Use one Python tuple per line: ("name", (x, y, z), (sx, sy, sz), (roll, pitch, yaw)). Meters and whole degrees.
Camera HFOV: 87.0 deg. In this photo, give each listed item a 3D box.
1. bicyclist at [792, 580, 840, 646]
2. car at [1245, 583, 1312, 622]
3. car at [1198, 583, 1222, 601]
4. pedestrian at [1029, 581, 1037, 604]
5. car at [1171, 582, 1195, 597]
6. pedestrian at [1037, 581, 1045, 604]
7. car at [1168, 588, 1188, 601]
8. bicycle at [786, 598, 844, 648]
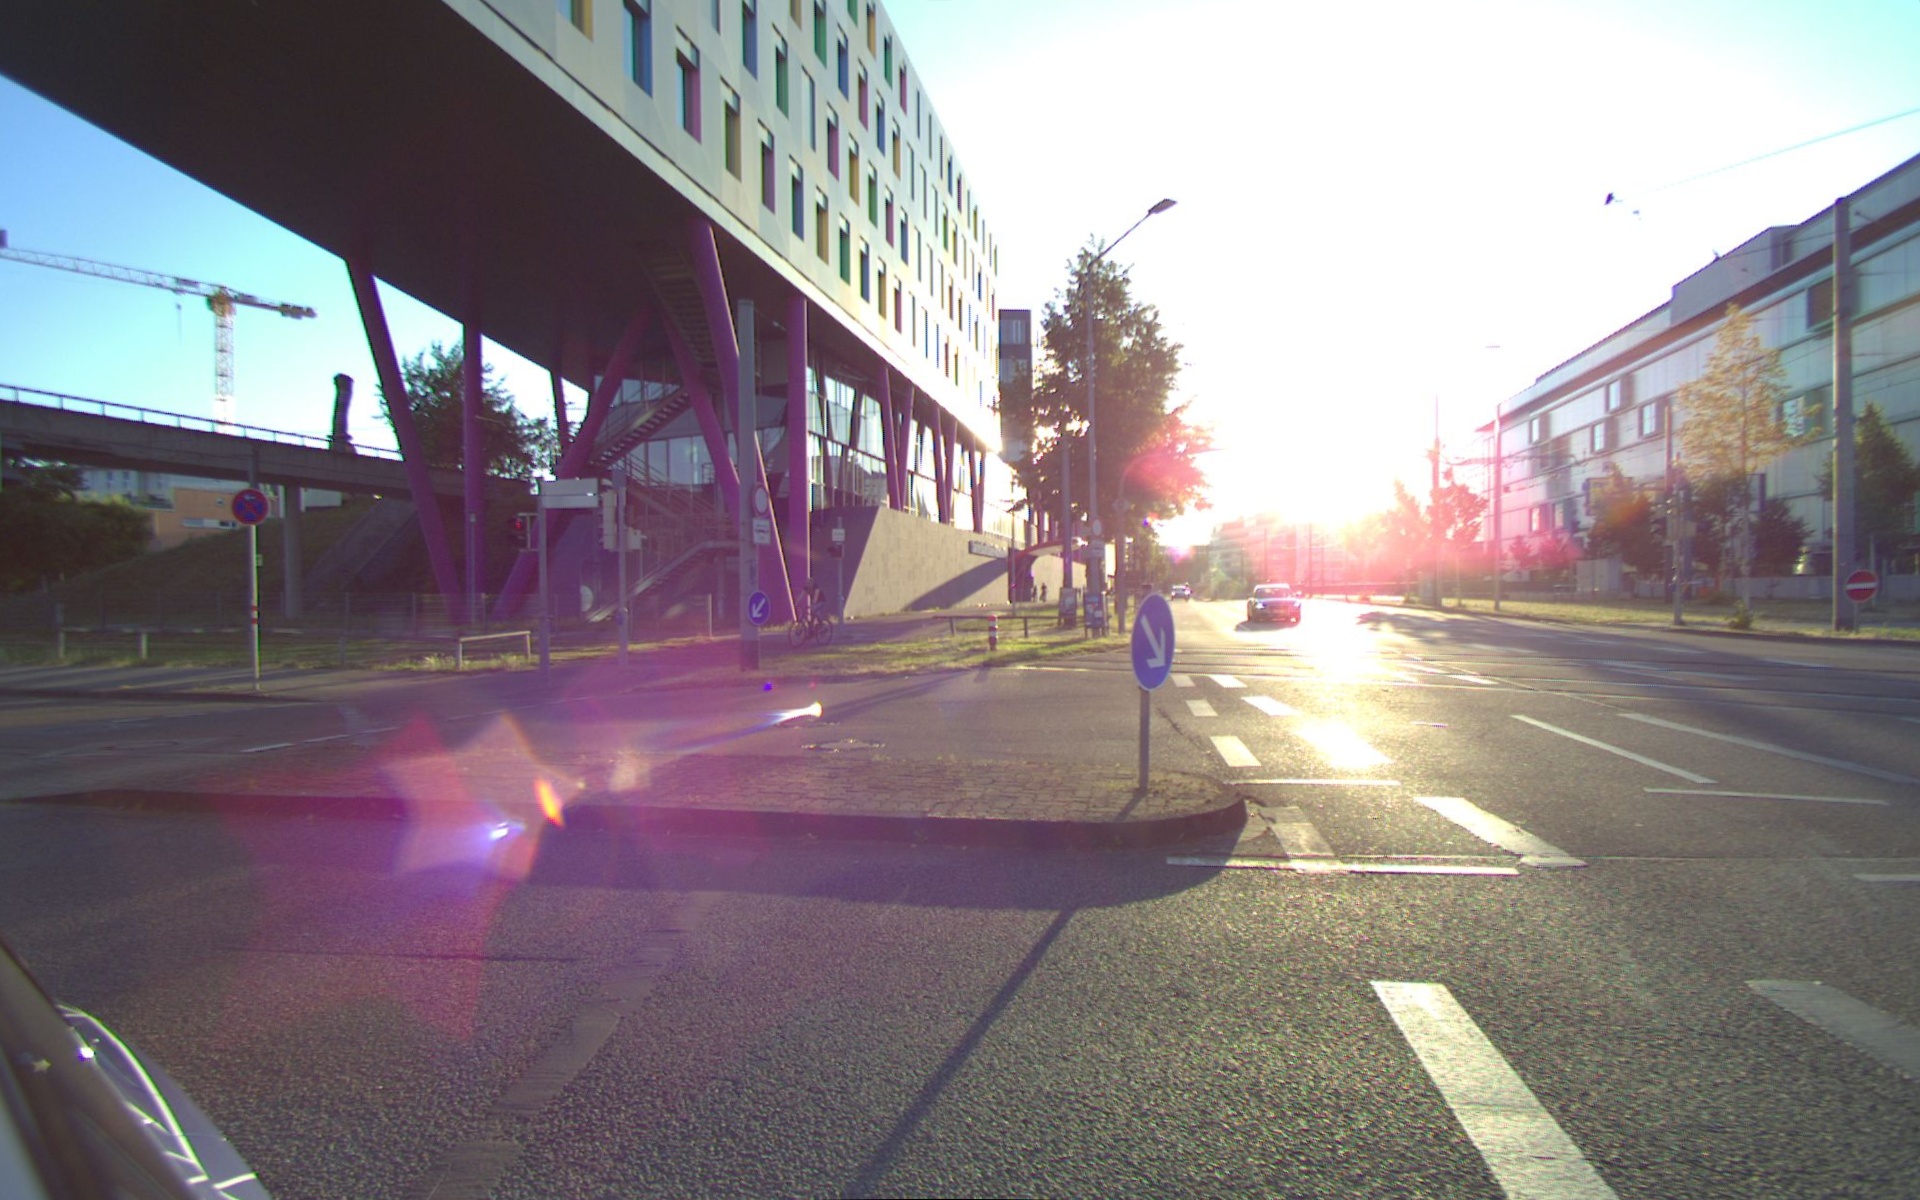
("bicyclist", (-3.703, 0.324, 26.142), (0.800, 1.645, 1.282), (-1, 1, 14))
("car", (12.404, 0.050, 39.600), (1.978, 1.431, 3.987), (-1, 1, 10))
("car", (24.081, -0.802, 97.550), (1.978, 1.719, 3.987), (-1, 1, 10))
("pedestrian", (6.618, -0.672, 92.071), (0.612, 2.029, 0.809), (0, 1, 12))
("car", (21.098, -1.005, 95.864), (1.978, 1.431, 3.987), (-1, 1, 10))
("pedestrian", (7.318, -0.665, 91.850), (0.612, 2.029, 0.809), (0, 1, 12))
("car", (24.439, -0.614, 113.664), (1.978, 1.431, 3.987), (-1, 1, 10))
("bicycle", (-3.712, 0.576, 26.113), (0.736, 1.216, 2.100), (-1, 1, 14))
